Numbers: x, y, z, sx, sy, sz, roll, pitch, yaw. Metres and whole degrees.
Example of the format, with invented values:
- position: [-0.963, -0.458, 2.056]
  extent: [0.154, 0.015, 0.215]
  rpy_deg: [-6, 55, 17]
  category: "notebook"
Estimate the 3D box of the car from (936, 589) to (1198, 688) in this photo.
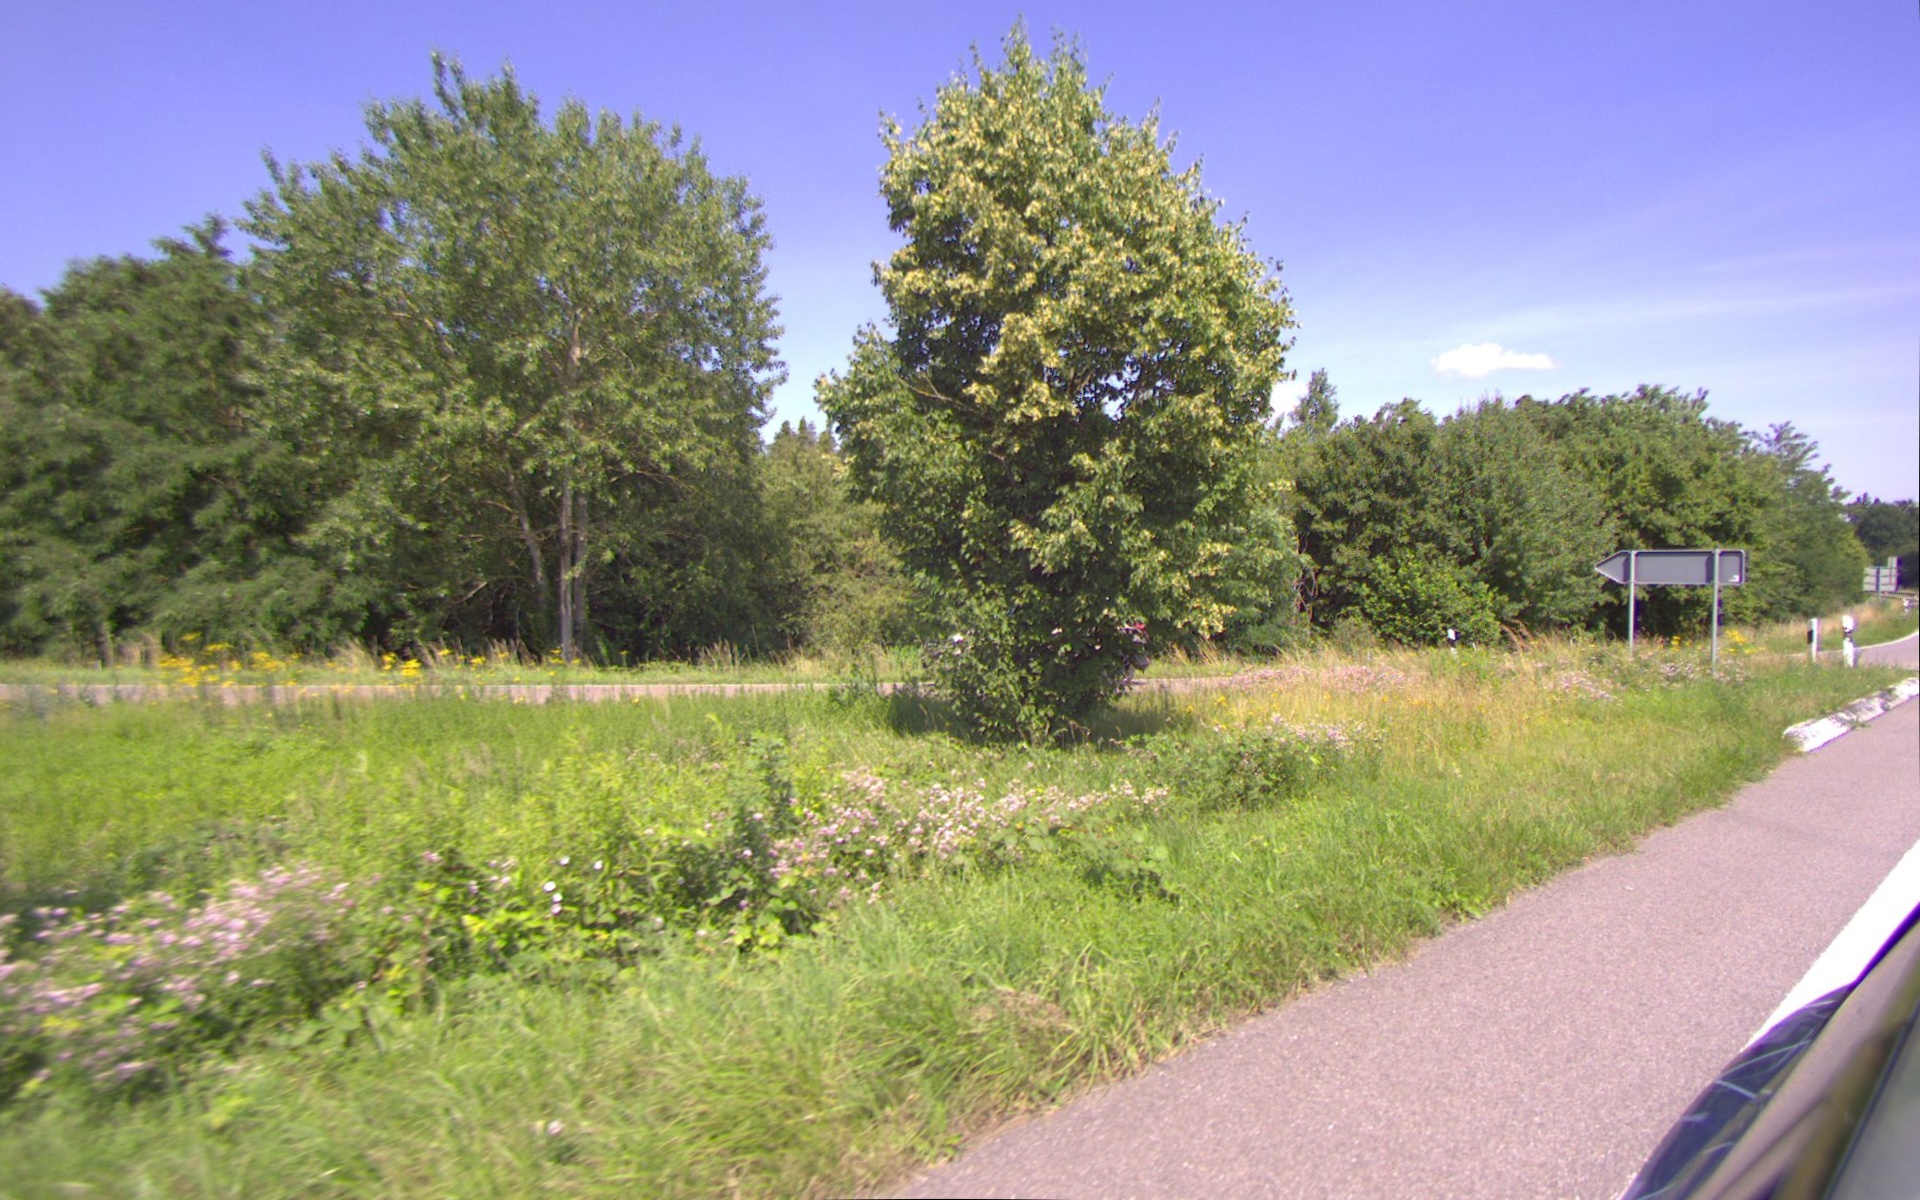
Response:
- position: [2.001, 0.695, 19.424]
  extent: [4.568, 1.687, 1.903]
  rpy_deg: [-1, -2, -14]
  category: "car"
